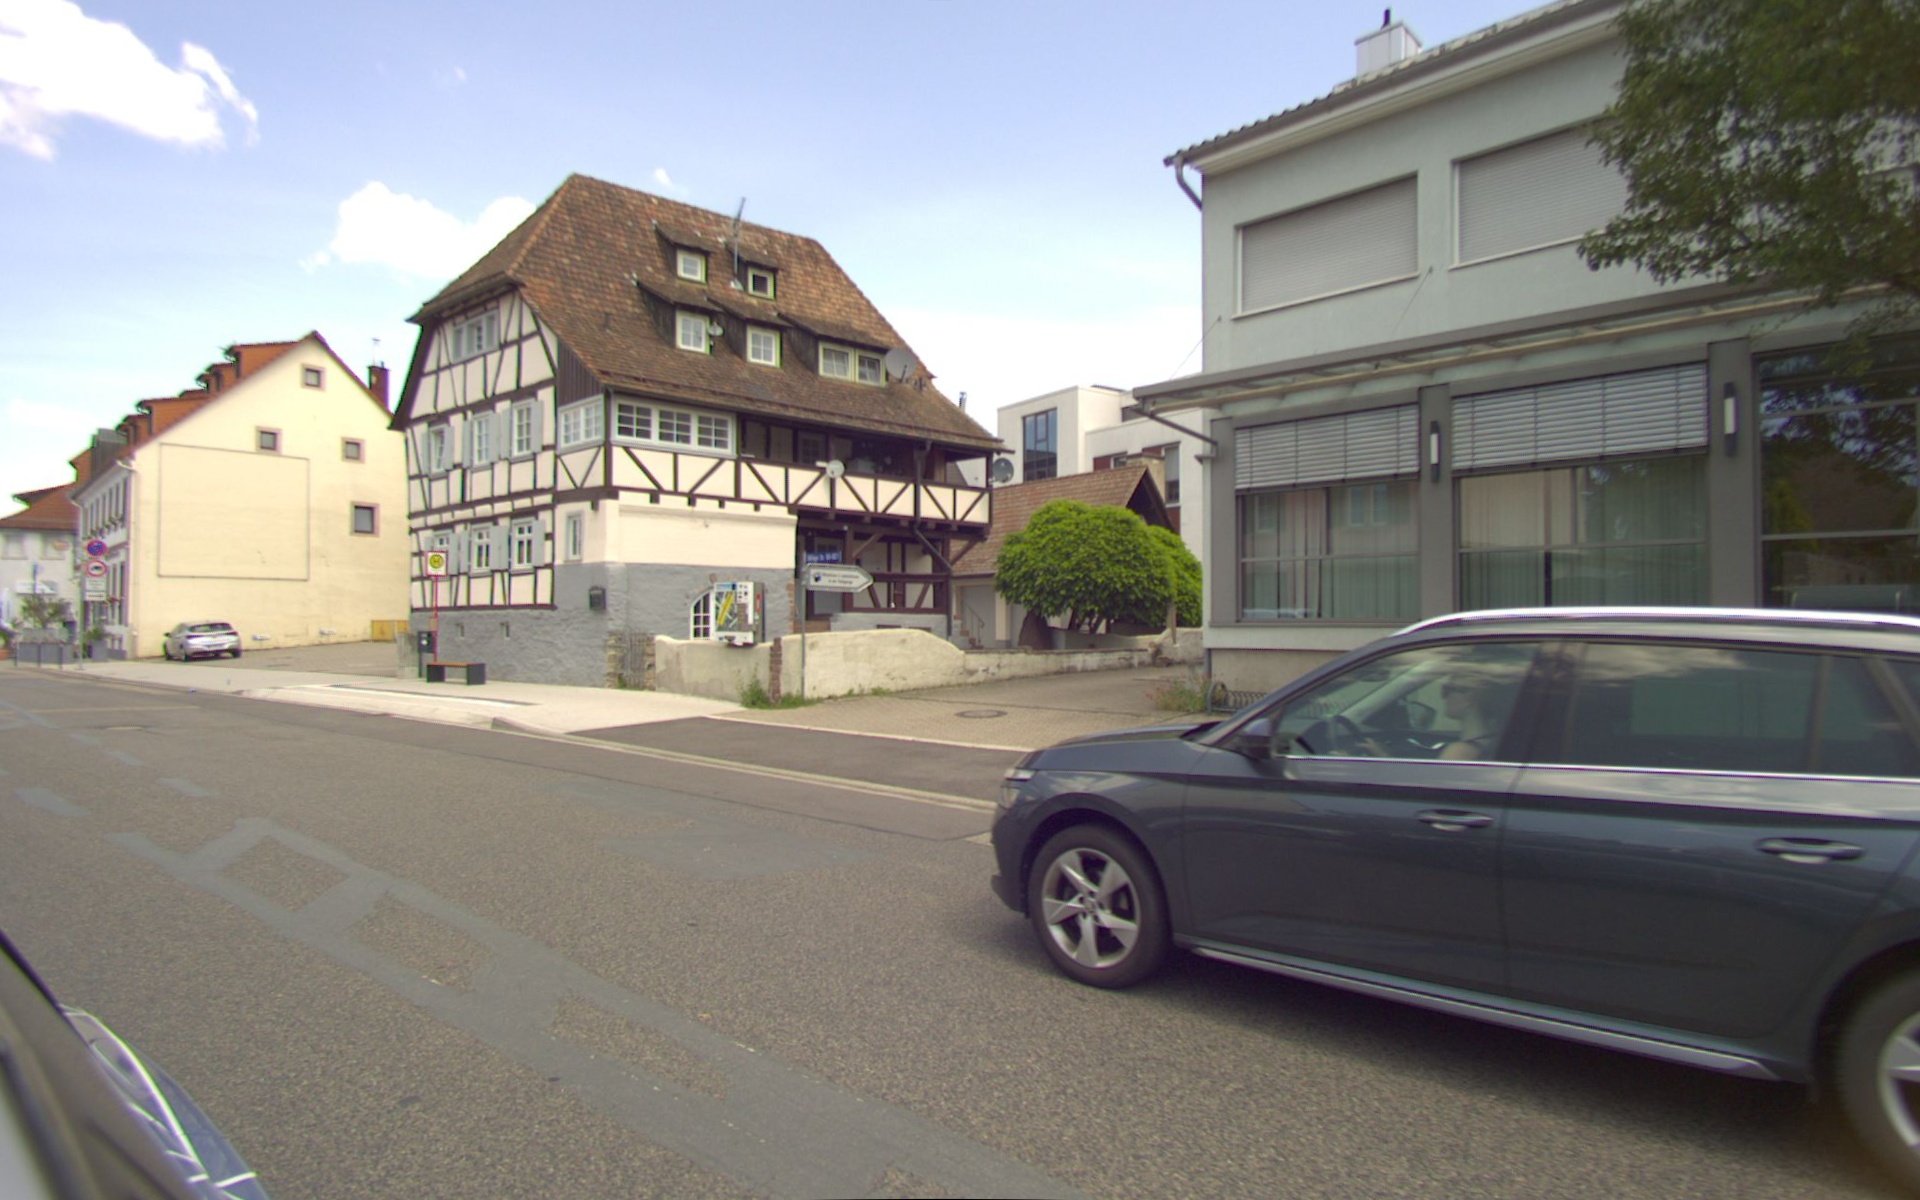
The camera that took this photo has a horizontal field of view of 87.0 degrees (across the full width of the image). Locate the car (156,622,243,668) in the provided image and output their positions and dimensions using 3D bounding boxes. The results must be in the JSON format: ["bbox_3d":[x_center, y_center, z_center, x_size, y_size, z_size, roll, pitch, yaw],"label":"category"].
[{"bbox_3d":[-28.702,1.642,38.154,4.274,1.503,1.740,-1,3,41],"label":"car"}]

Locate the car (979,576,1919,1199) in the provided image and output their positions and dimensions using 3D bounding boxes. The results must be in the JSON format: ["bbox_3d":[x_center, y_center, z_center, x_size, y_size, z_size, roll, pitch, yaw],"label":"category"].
[{"bbox_3d":[2.148,0.780,3.690,4.018,1.538,1.724,-2,-4,42],"label":"car"}]
